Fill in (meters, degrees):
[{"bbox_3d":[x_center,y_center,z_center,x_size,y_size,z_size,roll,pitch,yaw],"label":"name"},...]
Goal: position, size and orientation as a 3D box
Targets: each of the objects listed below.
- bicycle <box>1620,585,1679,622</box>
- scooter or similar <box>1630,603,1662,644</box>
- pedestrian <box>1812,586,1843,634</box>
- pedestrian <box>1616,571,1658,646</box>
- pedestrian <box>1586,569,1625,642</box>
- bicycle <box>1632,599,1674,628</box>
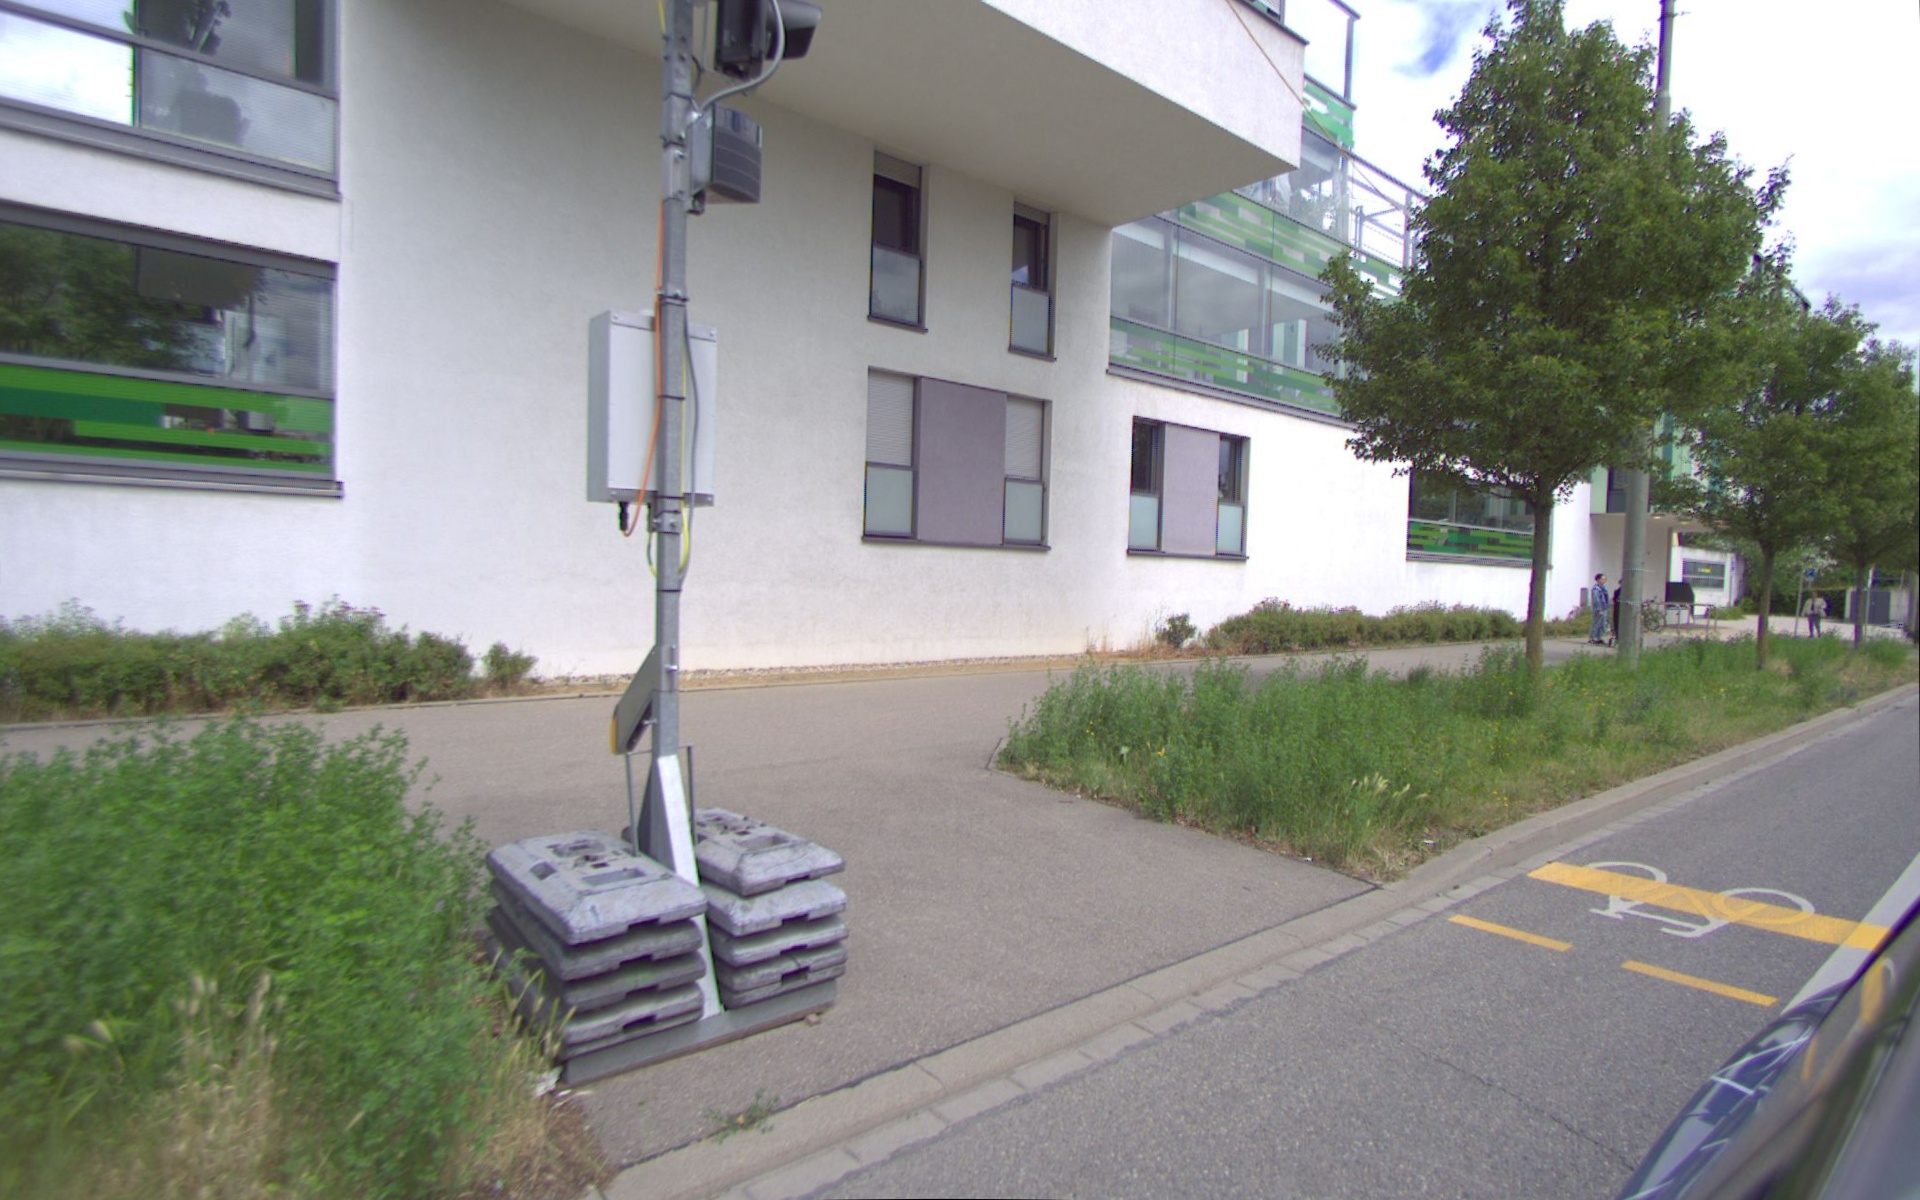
[{"bbox_3d":[21.479,0.088,31.523,1.462,1.058,0.303,4,3,38],"label":"bicycle"},{"bbox_3d":[15.937,0.532,23.512,0.670,0.916,0.422,0,3,-41],"label":"scooter or similar"},{"bbox_3d":[28.914,0.322,33.735,0.853,1.570,0.582,0,3,-41],"label":"pedestrian"},{"bbox_3d":[15.558,0.186,23.251,0.542,1.675,0.606,0,3,-41],"label":"pedestrian"},{"bbox_3d":[15.348,0.122,24.055,0.596,1.675,0.551,0,3,-41],"label":"pedestrian"},{"bbox_3d":[22.131,0.438,32.329,1.011,0.852,0.305,3,2,18],"label":"bicycle"}]
